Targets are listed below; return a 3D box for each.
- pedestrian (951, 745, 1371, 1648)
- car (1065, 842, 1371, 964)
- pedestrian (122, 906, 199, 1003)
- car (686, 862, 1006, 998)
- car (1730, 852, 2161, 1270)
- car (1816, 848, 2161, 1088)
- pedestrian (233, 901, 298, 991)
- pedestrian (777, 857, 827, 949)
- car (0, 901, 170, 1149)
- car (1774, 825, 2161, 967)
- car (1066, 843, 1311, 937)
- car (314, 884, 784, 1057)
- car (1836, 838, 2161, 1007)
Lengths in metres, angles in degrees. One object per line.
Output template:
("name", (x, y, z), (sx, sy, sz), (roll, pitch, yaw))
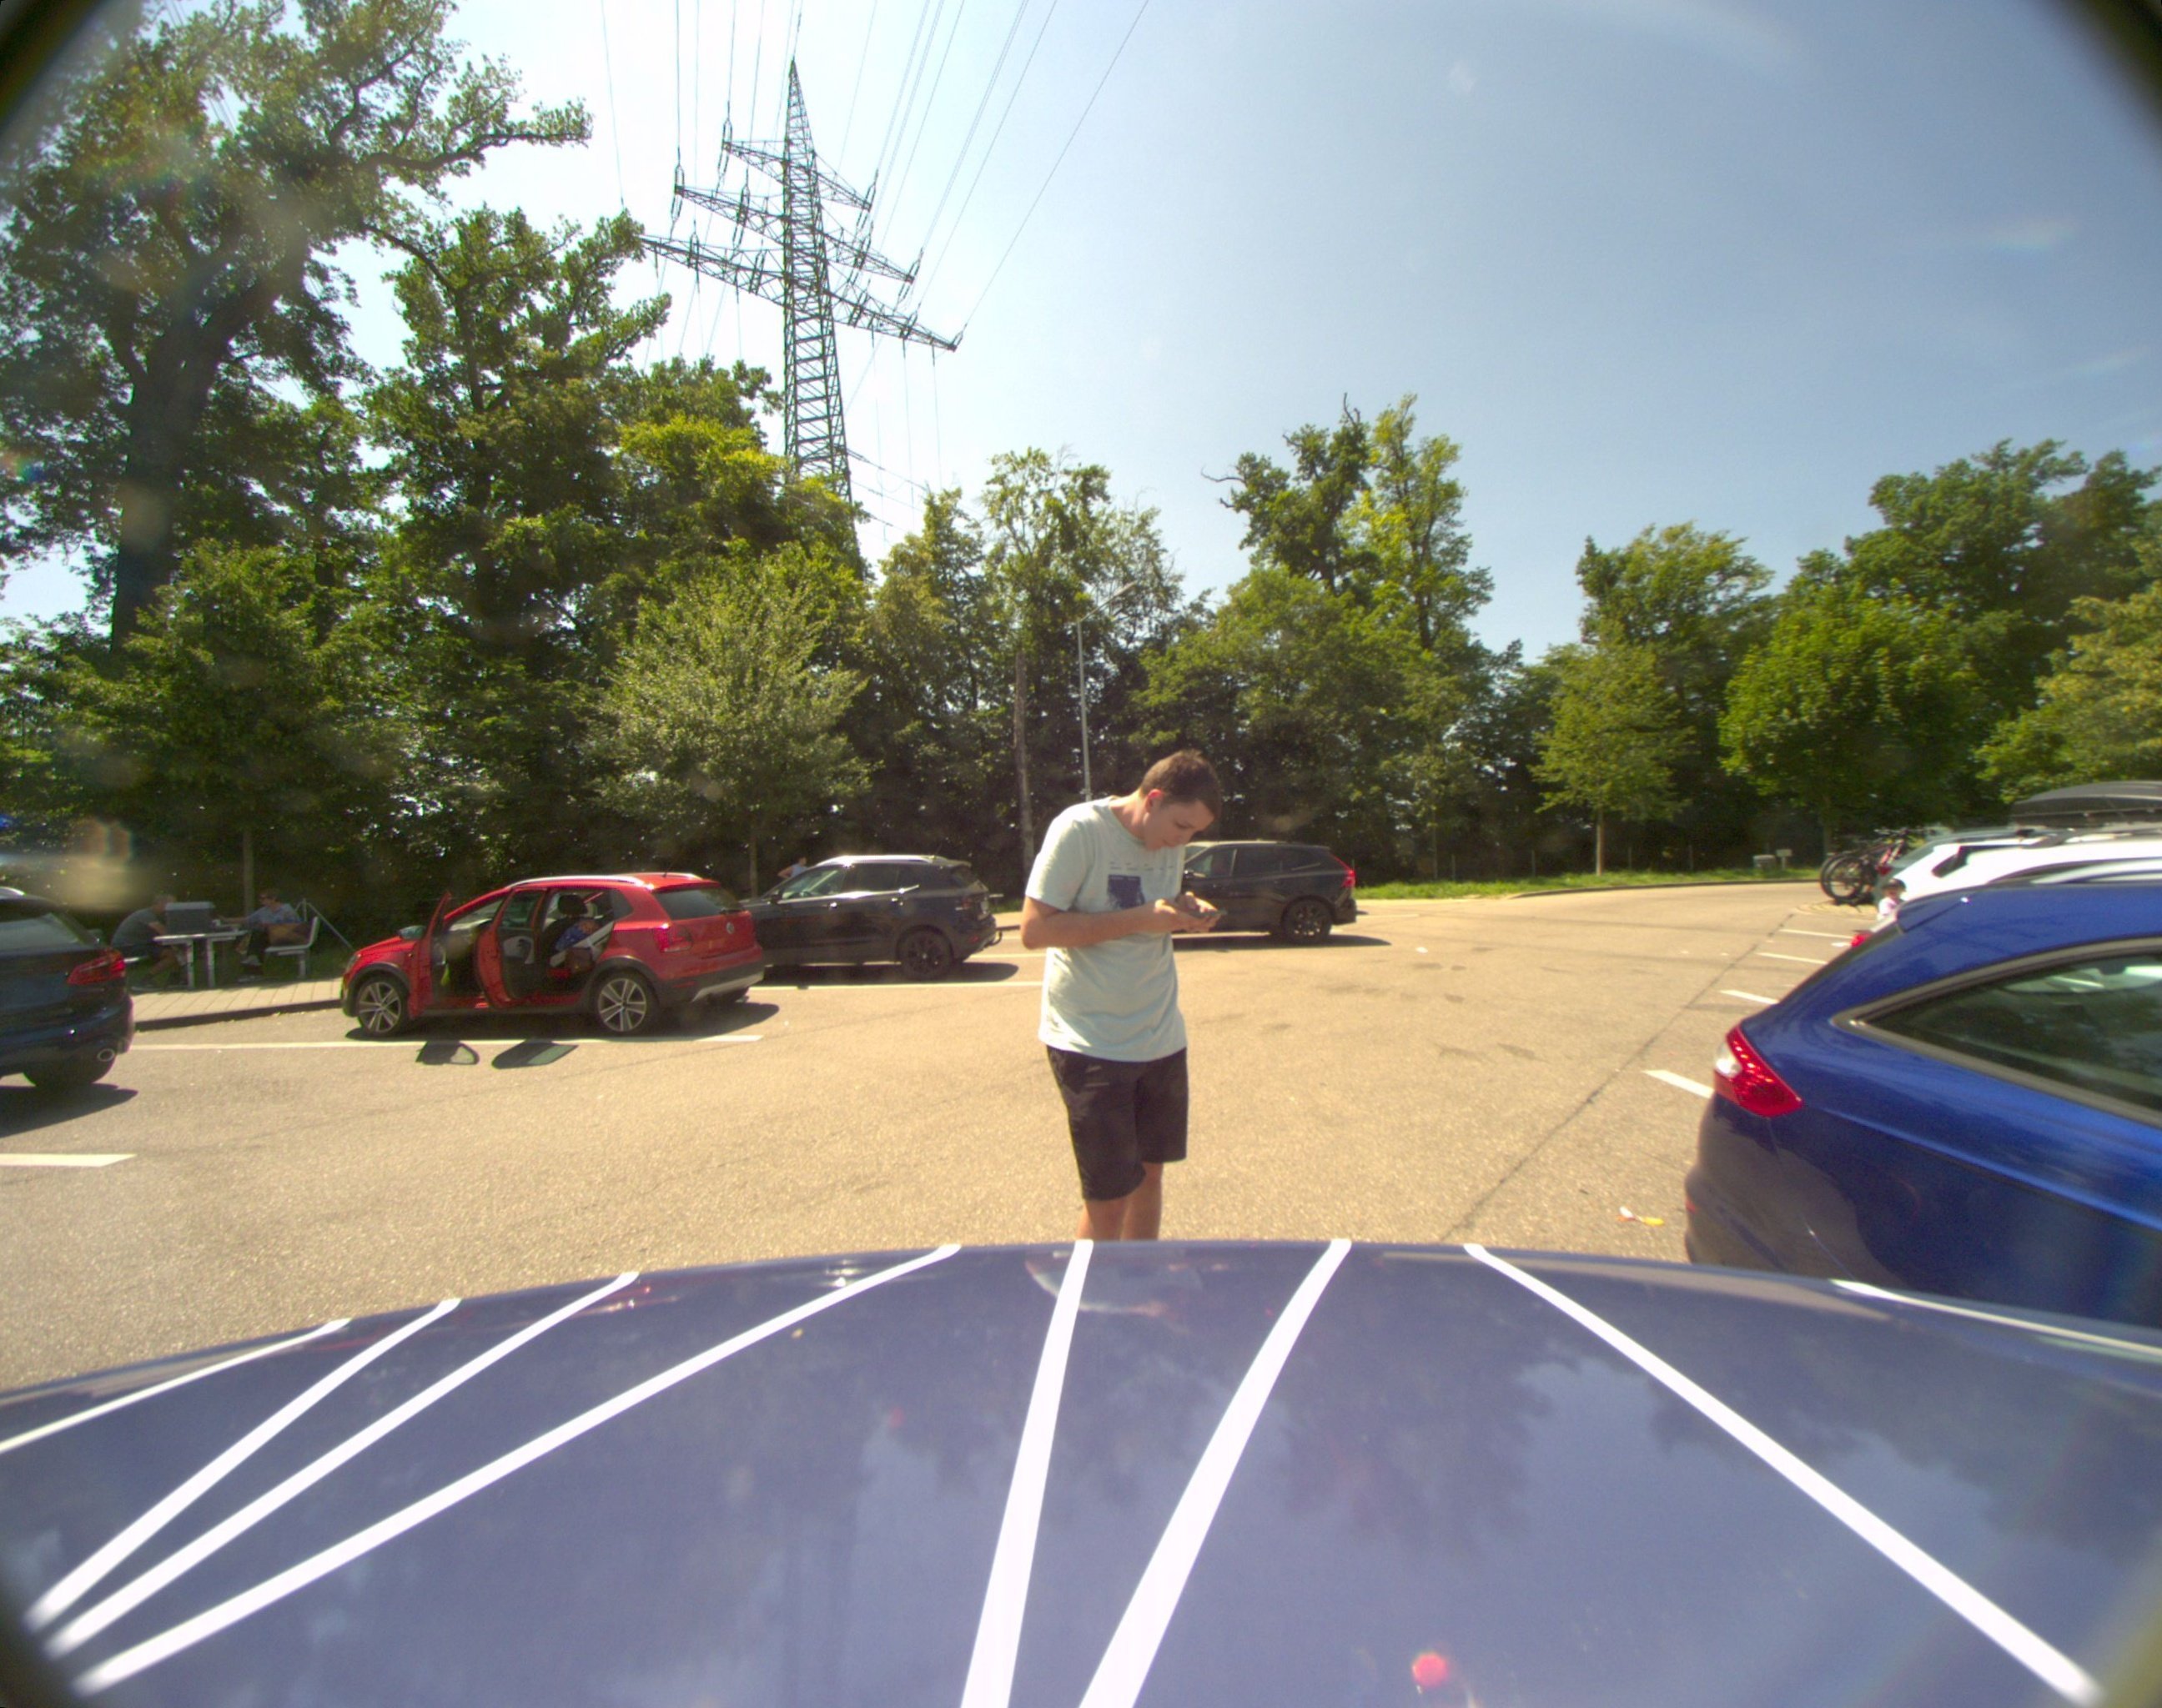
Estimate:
("pedestrian", (0.186, 0.724, 2.099), (0.862, 1.940, 0.687), (-3, 1, -23))
("car", (2.101, 0.729, 12.590), (4.615, 1.703, 1.999), (-2, 1, -3))
("pedestrian", (-12.625, 1.355, 10.443), (0.695, 1.228, 0.588), (-3, 0, 43))
("car", (-3.027, 0.958, 10.319), (3.732, 1.578, 1.739), (-2, 0, 2))
("car", (4.879, 0.747, 2.359), (1.776, 1.491, 4.495), (-3, -1, -1))
("car", (7.482, 0.677, 4.518), (1.776, 1.418, 4.495), (-3, -1, -1))
("pedestrian", (-11.944, 1.321, 11.132), (0.695, 1.228, 0.588), (-3, 0, 43))
("pedestrian", (-5.764, 0.983, 15.690), (0.767, 1.821, 0.519), (-3, 2, -38))
("car", (-8.878, 1.175, 4.997), (3.934, 1.534, 1.812), (-2, 0, 7))
("car", (12.546, 0.478, 10.376), (1.777, 1.541, 4.493), (-3, -1, -5))
("car", (2.145, 0.719, 15.476), (4.619, 1.701, 1.740), (-2, 0, 9))
("car", (-5.183, 1.102, 7.642), (3.730, 1.440, 1.591), (-2, 0, 7))
("car", (10.115, 0.573, 6.904), (1.777, 1.418, 4.493), (-3, -1, -5))
